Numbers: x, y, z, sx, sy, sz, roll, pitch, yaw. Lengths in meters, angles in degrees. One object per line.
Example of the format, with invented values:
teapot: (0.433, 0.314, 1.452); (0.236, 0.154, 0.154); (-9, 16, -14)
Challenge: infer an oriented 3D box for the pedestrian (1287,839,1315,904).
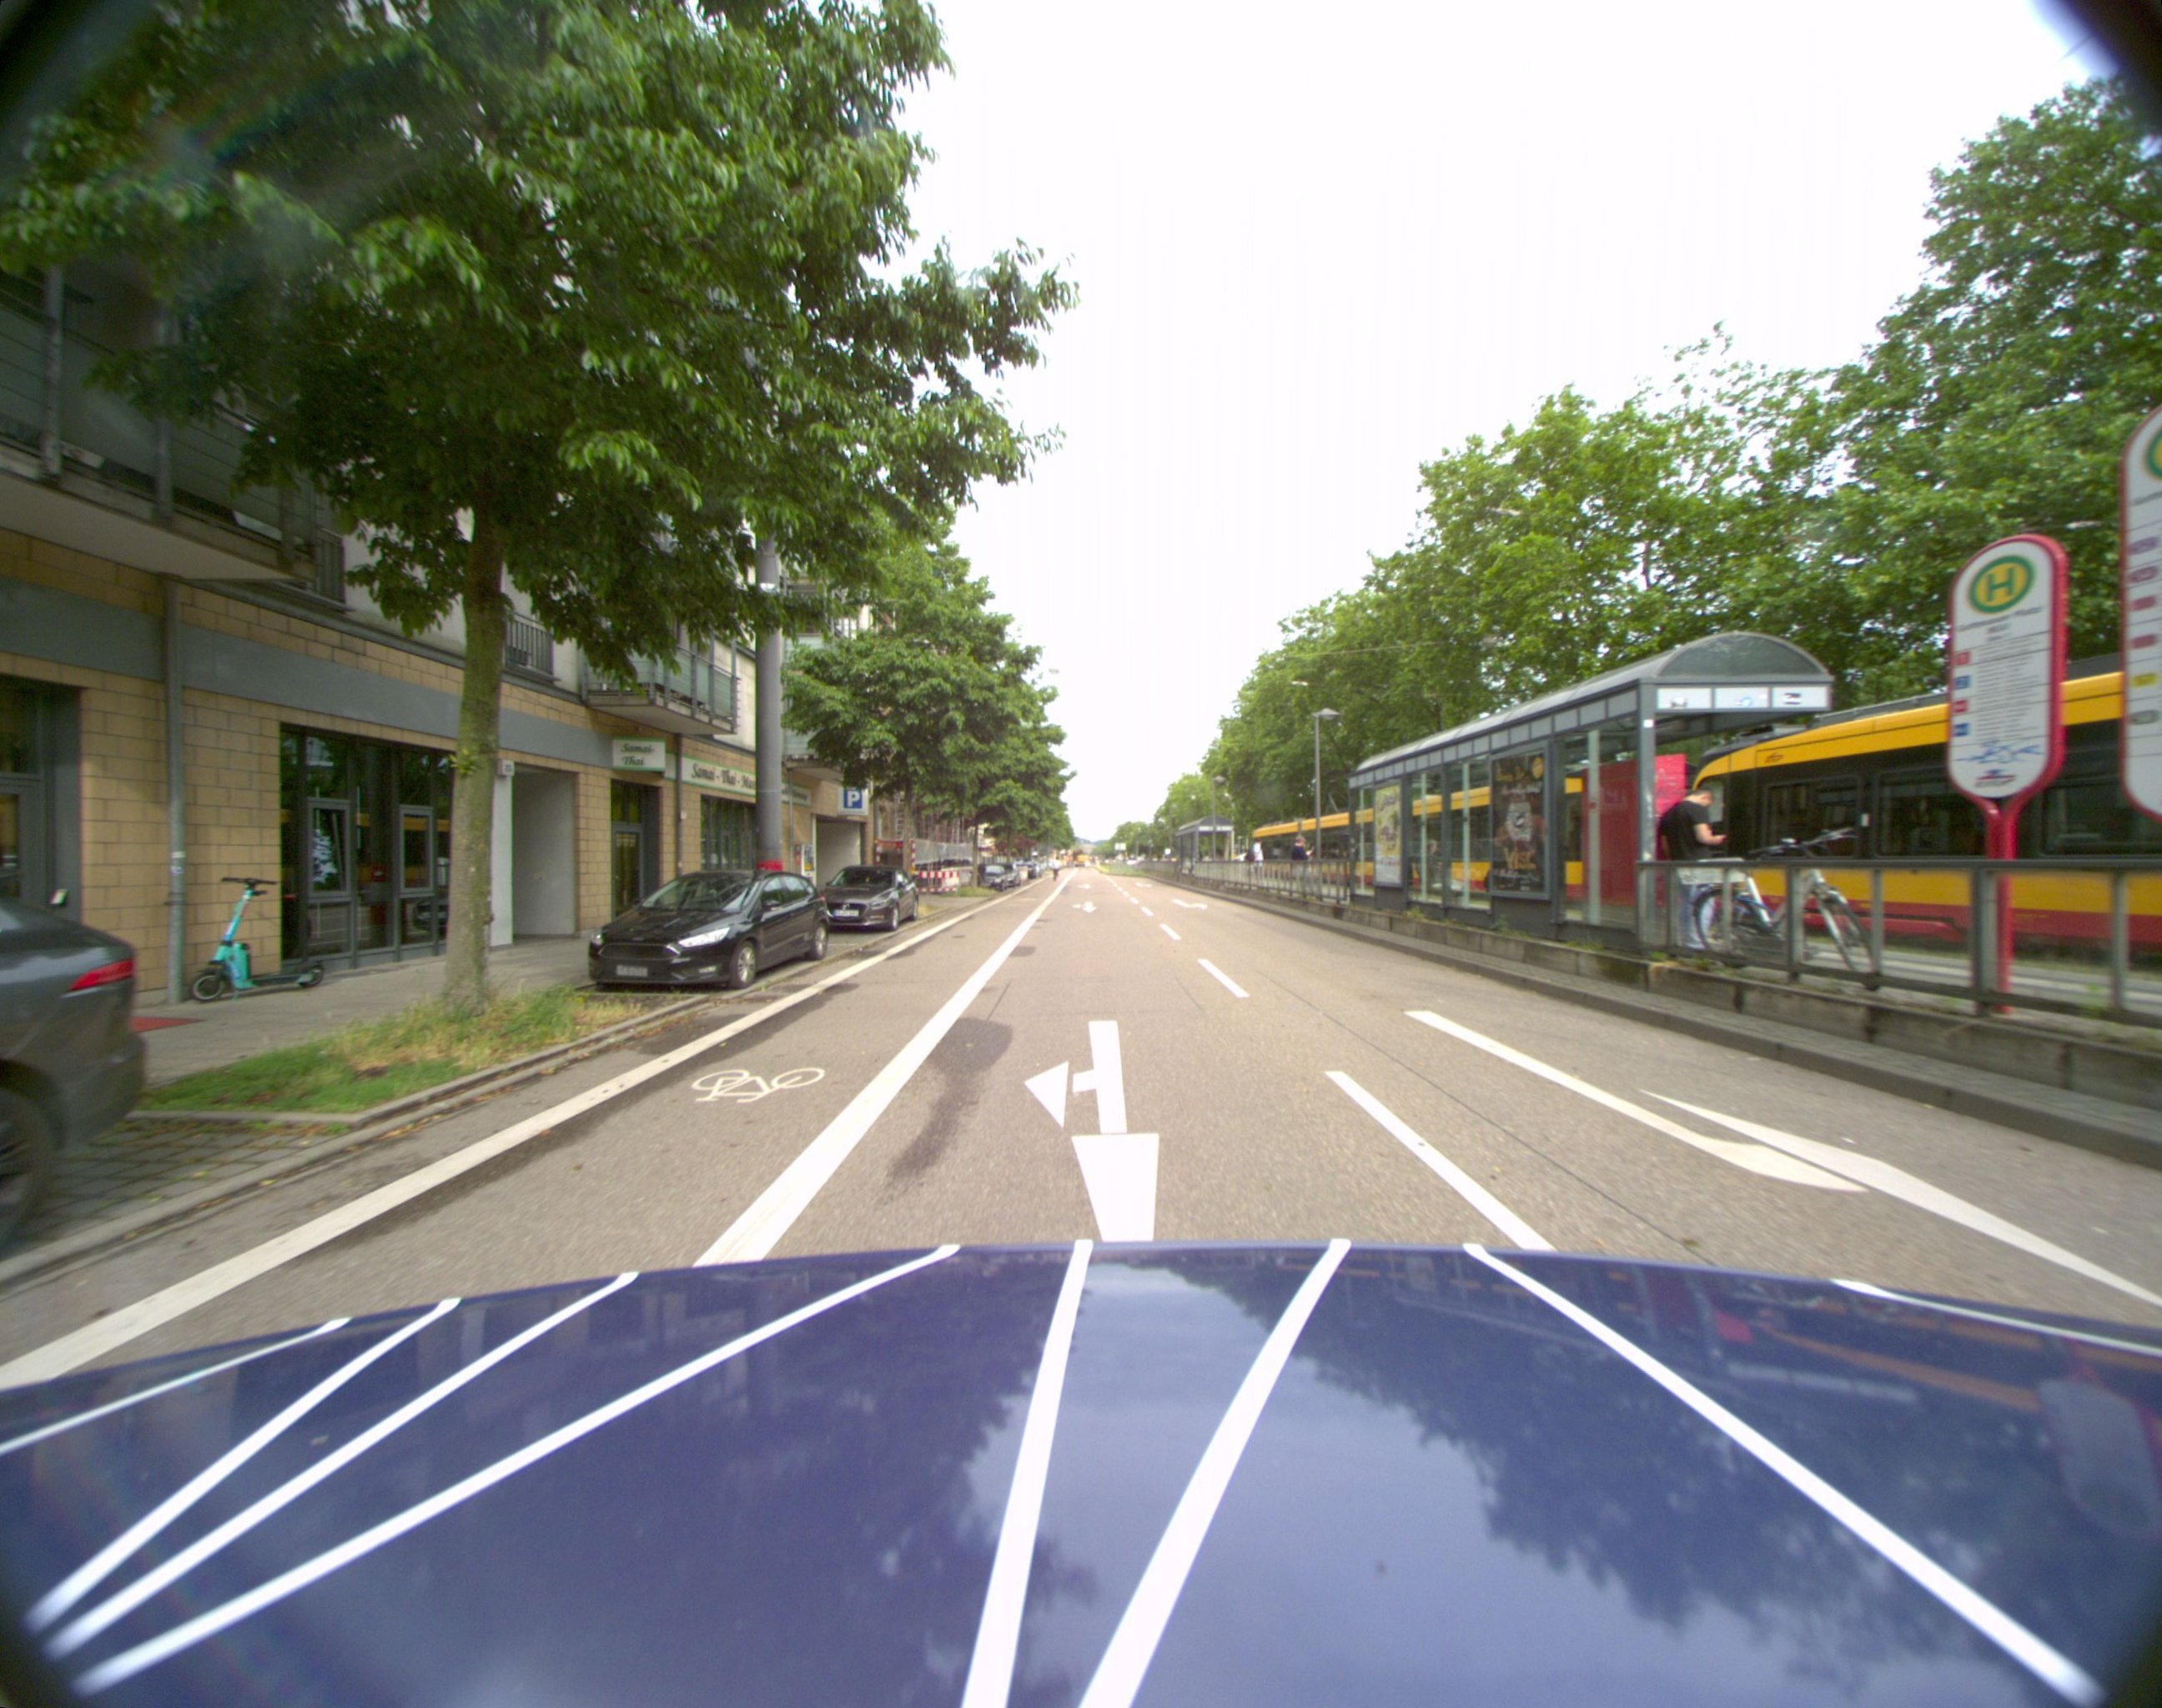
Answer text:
pedestrian: (5.683, 0.442, 19.659); (0.513, 1.623, 0.730); (-2, 1, 2)

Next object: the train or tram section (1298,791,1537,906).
train or tram section: (12.774, -0.169, 31.665); (3.067, 3.511, 15.771); (-2, 0, 1)

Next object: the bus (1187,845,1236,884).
bus: (7.134, 0.560, 41.777); (1.998, 2.002, 4.000); (-2, 0, 1)

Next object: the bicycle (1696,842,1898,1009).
bicycle: (5.789, 0.525, 6.233); (0.420, 1.215, 1.289); (-2, 0, 0)

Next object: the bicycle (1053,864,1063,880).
bicycle: (-1.708, 1.298, 55.975); (0.613, 1.116, 2.050); (-2, 0, 1)

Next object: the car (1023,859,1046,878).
car: (-4.348, 1.311, 71.127); (1.837, 1.685, 3.762); (1, 0, 0)

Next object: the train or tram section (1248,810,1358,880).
train or tram section: (12.944, -0.463, 45.827); (3.100, 3.541, 12.539); (-2, 0, 1)

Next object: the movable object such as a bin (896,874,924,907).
movable object such as a bin: (-5.592, 1.203, 24.901); (0.764, 1.048, 0.541); (1, 1, 0)

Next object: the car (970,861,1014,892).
car: (-4.581, 1.129, 39.594); (1.755, 1.452, 4.279); (1, 0, 0)

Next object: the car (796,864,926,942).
car: (-4.935, 1.033, 17.713); (1.802, 1.447, 4.388); (2, 0, -1)

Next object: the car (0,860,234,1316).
car: (-4.959, 0.895, 1.319); (1.716, 1.707, 4.711); (2, 0, -1)

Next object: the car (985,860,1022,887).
car: (-4.581, 1.120, 45.353); (1.755, 1.452, 4.279); (1, 0, 0)

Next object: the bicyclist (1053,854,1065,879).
bicyclist: (-1.624, 0.923, 56.352); (0.751, 1.776, 0.838); (-2, 1, 1)

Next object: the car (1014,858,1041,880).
car: (-4.346, 1.189, 61.834); (1.837, 1.720, 4.279); (1, 0, 0)

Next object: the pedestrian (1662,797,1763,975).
pedestrian: (5.996, 0.293, 7.233); (0.532, 1.623, 0.471); (-2, 1, -2)

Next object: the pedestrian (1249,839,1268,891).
pedestrian: (5.694, 0.350, 24.369); (0.480, 1.623, 0.392); (-2, 1, 2)

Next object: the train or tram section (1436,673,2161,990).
train or tram section: (12.599, -0.286, 16.139); (3.067, 3.511, 15.294); (-2, 0, 1)

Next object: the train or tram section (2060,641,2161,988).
train or tram section: (12.405, -0.432, 0.826); (3.067, 3.511, 15.294); (-2, 0, 1)

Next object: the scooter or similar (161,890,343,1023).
scooter or similar: (-8.497, 1.009, 7.853); (0.518, 1.193, 1.214); (2, 0, 0)

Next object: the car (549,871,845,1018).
car: (-4.854, 1.027, 10.445); (1.680, 1.433, 4.408); (2, 0, 2)
